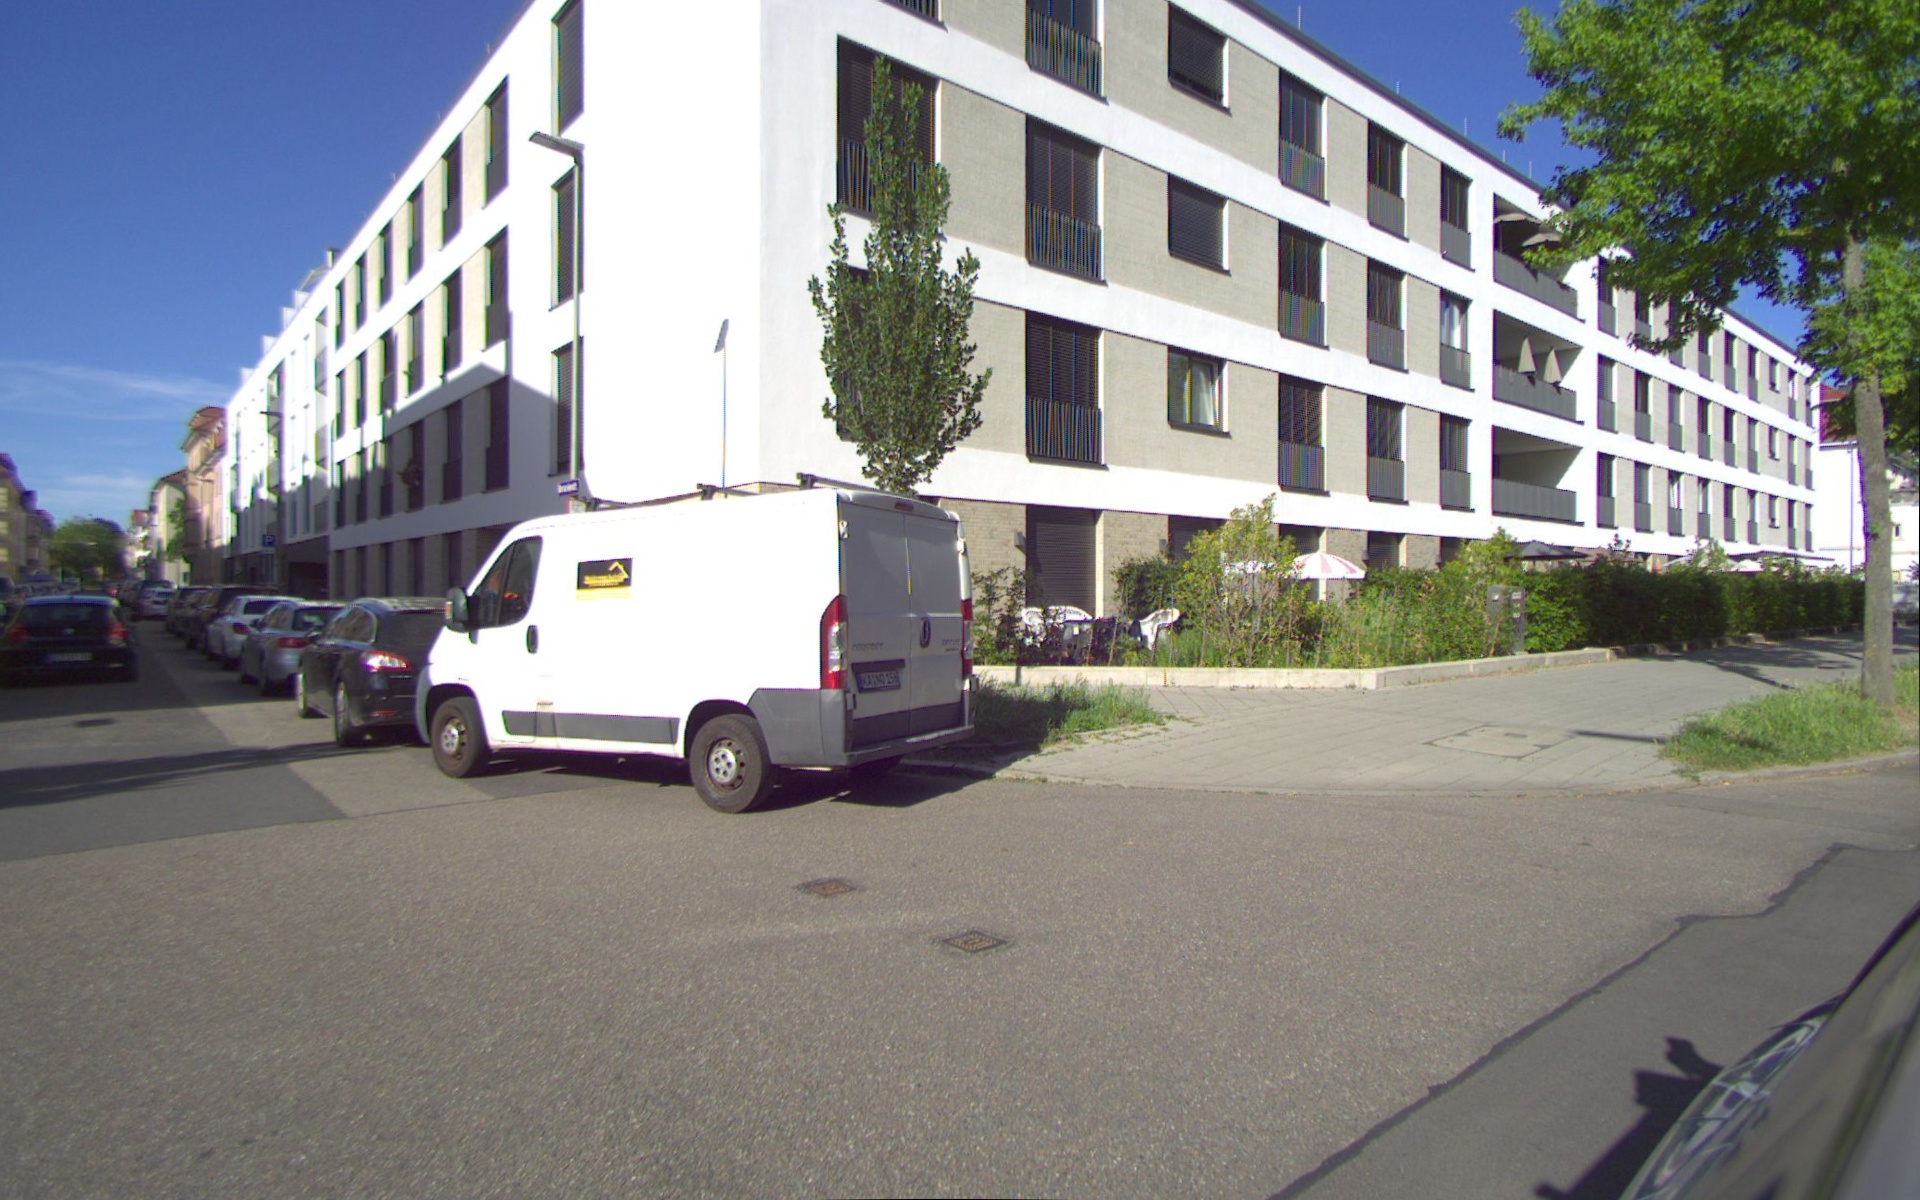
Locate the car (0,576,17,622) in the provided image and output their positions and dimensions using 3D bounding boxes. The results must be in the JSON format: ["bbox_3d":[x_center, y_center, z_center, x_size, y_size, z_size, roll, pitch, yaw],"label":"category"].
[{"bbox_3d":[-38.437,-0.018,39.587,2.059,1.754,4.807,-1,0,-41],"label":"car"}]

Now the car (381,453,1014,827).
[{"bbox_3d":[-2.271,0.213,8.498,5.009,2.335,2.213,1,1,28],"label":"car"}]

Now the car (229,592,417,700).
[{"bbox_3d":[-10.383,0.636,16.303,1.926,1.447,4.938,2,-1,-40],"label":"car"}]

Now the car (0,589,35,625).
[{"bbox_3d":[-41.834,0.302,44.065,1.964,1.494,3.997,-1,0,-38],"label":"car"}]

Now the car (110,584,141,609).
[{"bbox_3d":[-70.221,-0.265,85.141,1.931,2.025,4.520,0,0,-41],"label":"car"}]

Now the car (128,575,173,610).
[{"bbox_3d":[-49.414,-0.452,61.771,1.931,2.025,4.520,0,0,-41],"label":"car"}]

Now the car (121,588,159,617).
[{"bbox_3d":[-58.892,0.182,72.629,1.931,2.025,4.520,0,0,-41],"label":"car"}]

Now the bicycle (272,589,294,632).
[{"bbox_3d":[-21.850,0.328,32.659,0.422,1.339,1.831,-1,0,-29],"label":"bicycle"}]

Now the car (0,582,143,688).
[{"bbox_3d":[-14.999,0.483,17.105,1.757,1.542,3.995,0,2,-40],"label":"car"}]

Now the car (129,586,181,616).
[{"bbox_3d":[-42.049,0.067,52.843,1.931,1.488,4.520,0,0,-41],"label":"car"}]

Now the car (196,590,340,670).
[{"bbox_3d":[-14.692,0.578,21.350,1.931,1.488,4.934,0,0,-41],"label":"car"}]

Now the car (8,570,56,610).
[{"bbox_3d":[-71.825,-0.765,78.405,2.531,3.005,6.207,-1,0,-41],"label":"car"}]

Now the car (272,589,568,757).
[{"bbox_3d":[-6.410,0.637,11.687,2.012,1.488,4.937,0,1,-41],"label":"car"}]

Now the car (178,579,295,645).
[{"bbox_3d":[-18.088,0.293,25.214,1.931,1.488,4.520,0,0,-41],"label":"car"}]

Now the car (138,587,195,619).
[{"bbox_3d":[-37.952,0.151,48.368,1.931,1.488,4.520,0,0,-41],"label":"car"}]

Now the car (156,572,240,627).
[{"bbox_3d":[-25.813,-0.003,34.231,1.931,1.707,4.520,0,0,-41],"label":"car"}]

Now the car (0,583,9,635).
[{"bbox_3d":[-31.033,0.278,31.424,1.965,1.571,4.426,-1,0,-41],"label":"car"}]
